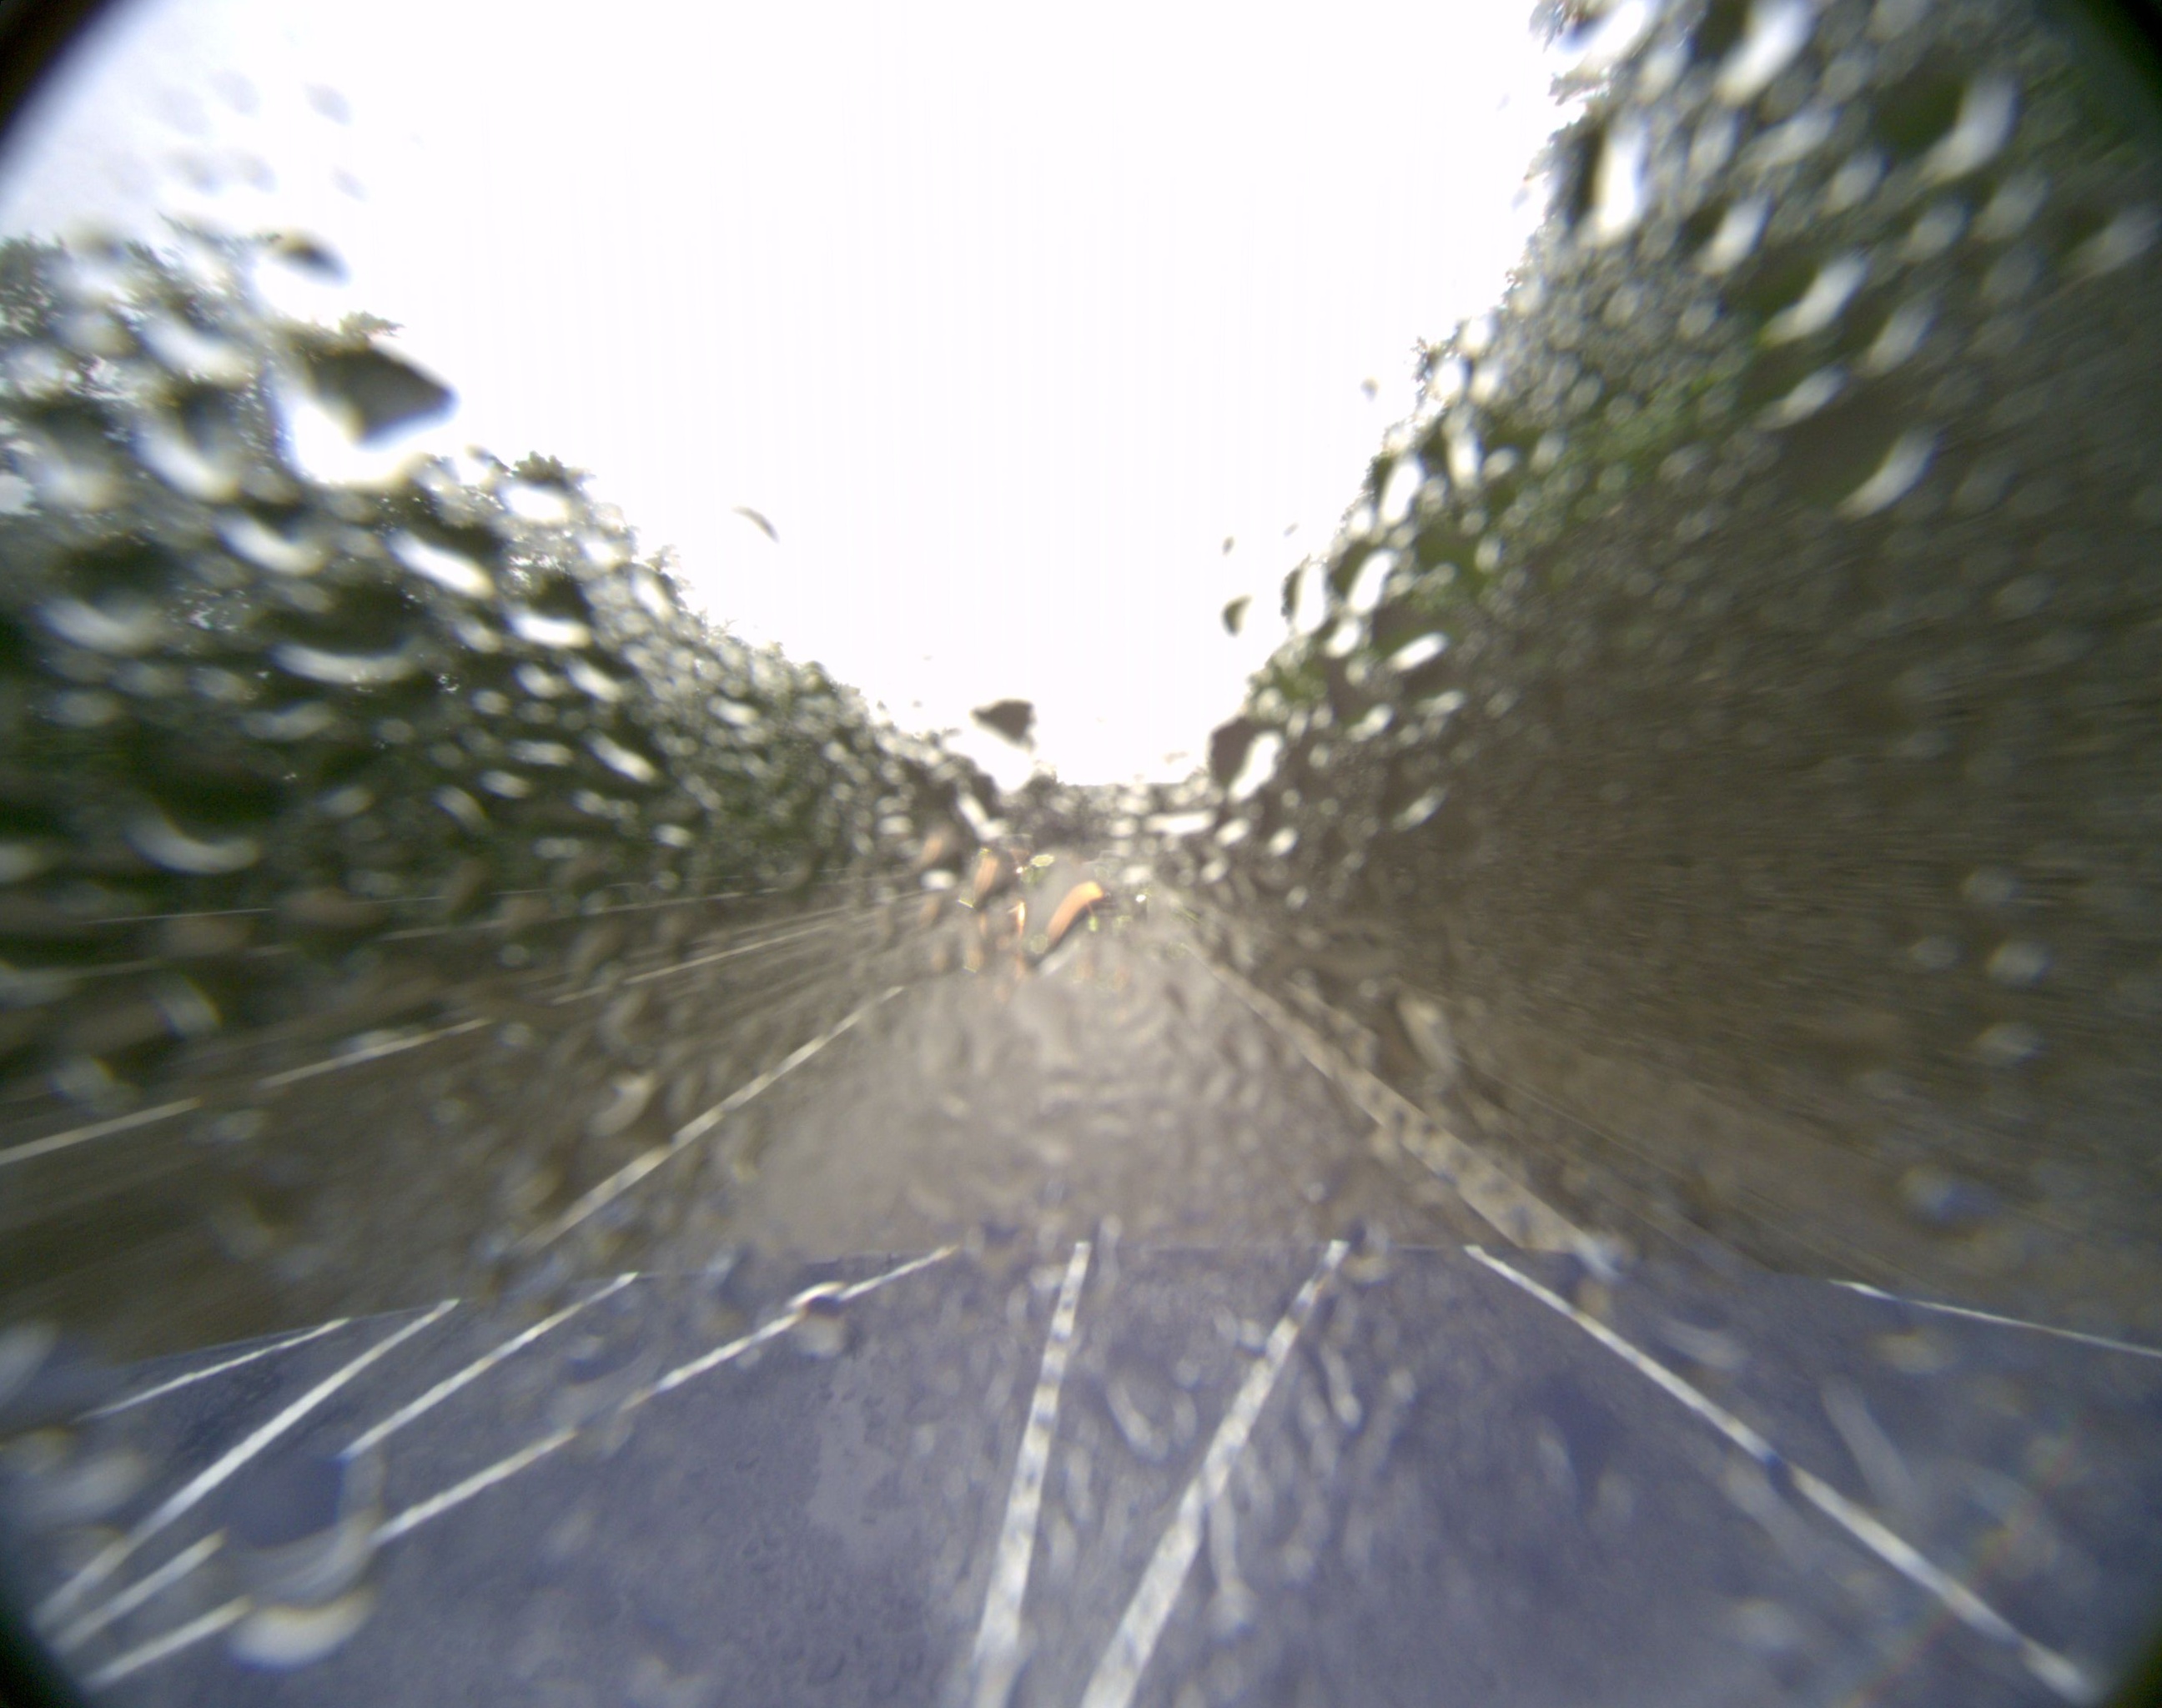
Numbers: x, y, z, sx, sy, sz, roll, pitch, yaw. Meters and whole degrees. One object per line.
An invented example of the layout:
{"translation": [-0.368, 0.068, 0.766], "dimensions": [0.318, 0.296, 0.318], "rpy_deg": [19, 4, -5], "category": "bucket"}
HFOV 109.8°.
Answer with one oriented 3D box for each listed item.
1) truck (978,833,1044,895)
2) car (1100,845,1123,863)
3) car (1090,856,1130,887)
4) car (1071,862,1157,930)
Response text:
{"translation": [-3.080, 0.379, 35.287], "dimensions": [2.108, 2.481, 8.002], "rpy_deg": [-2, 0, 1], "category": "truck"}
{"translation": [2.536, -0.010, 62.907], "dimensions": [1.827, 1.375, 4.000], "rpy_deg": [-2, 0, 2], "category": "car"}
{"translation": [1.444, 0.816, 37.634], "dimensions": [1.827, 1.375, 4.000], "rpy_deg": [-2, 0, 2], "category": "car"}
{"translation": [0.784, 0.937, 18.561], "dimensions": [1.827, 1.375, 4.000], "rpy_deg": [-2, 0, 2], "category": "car"}
